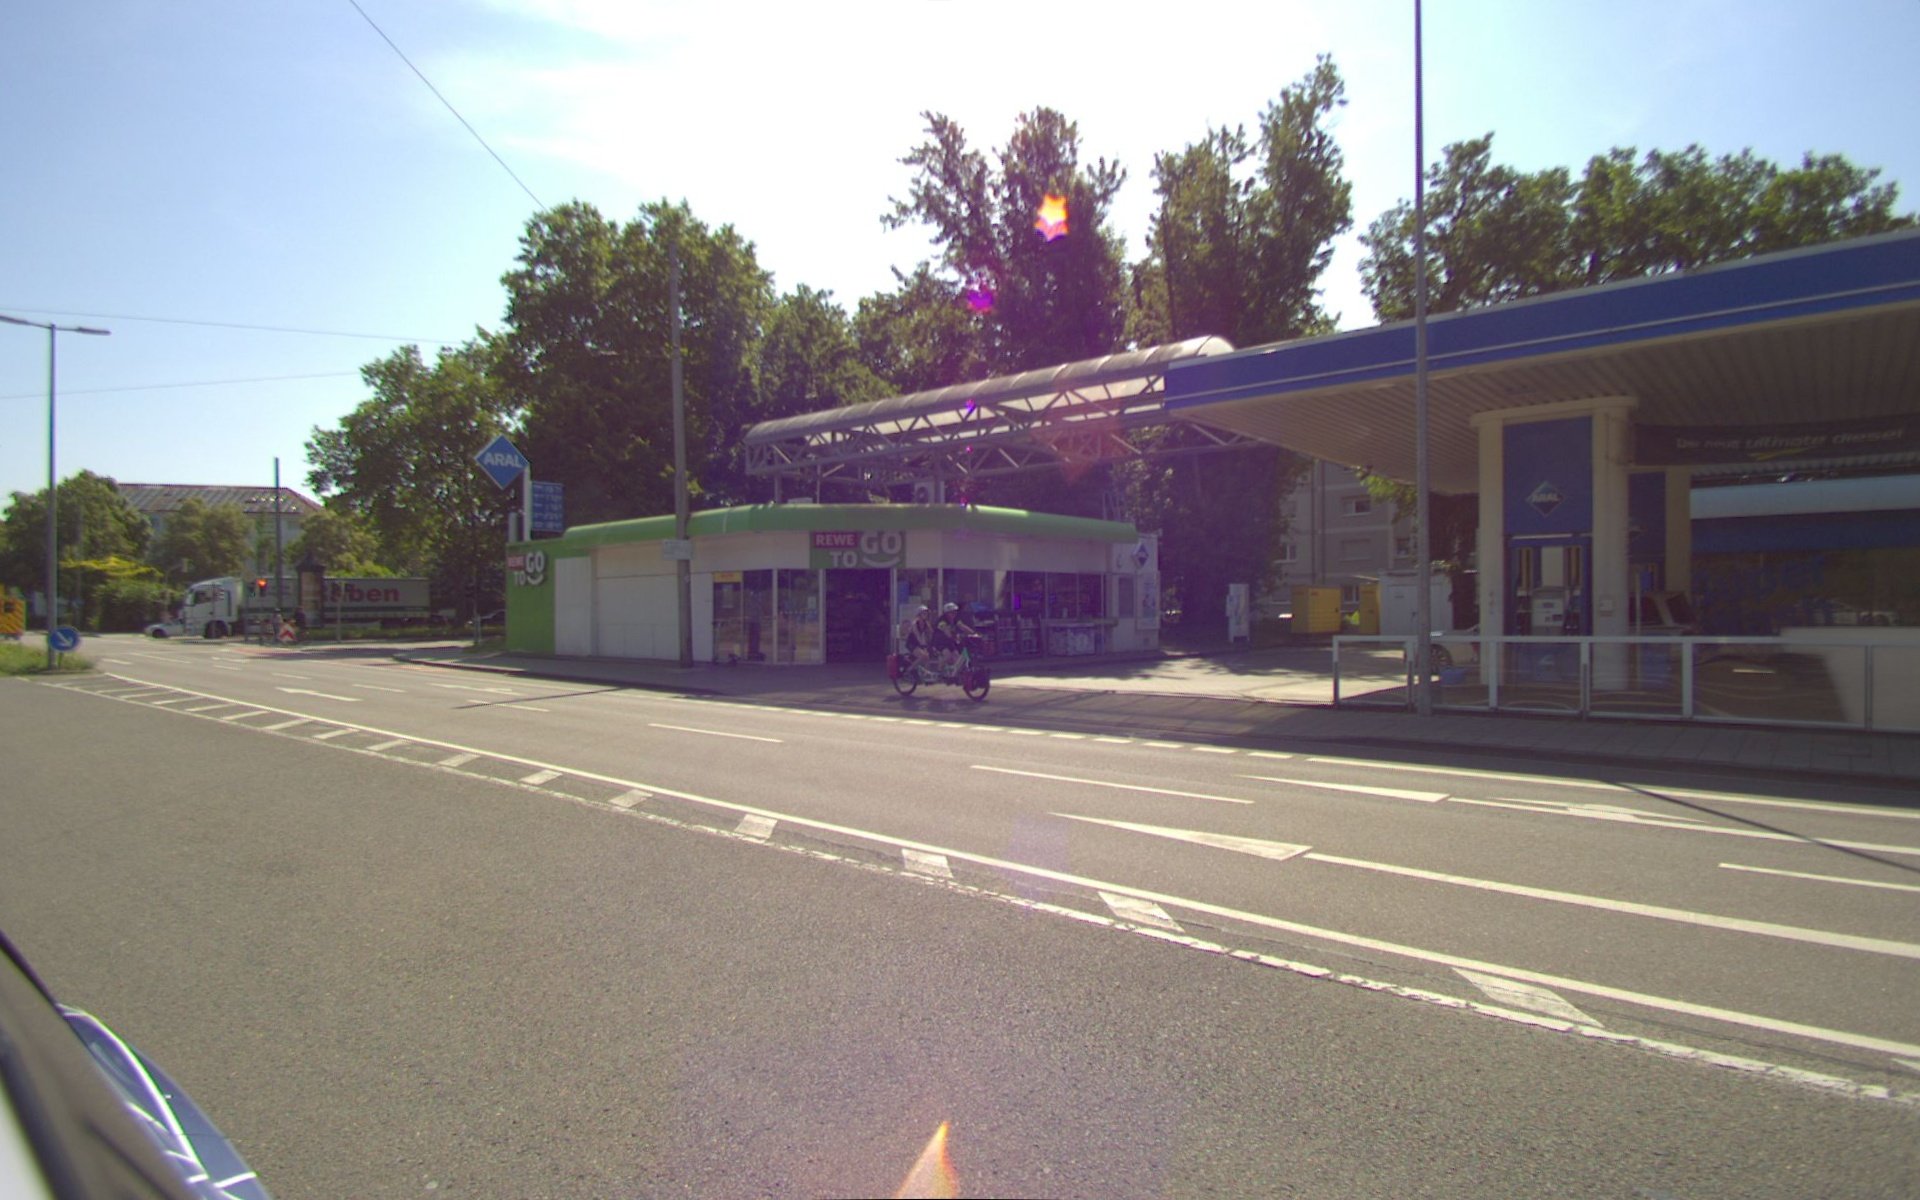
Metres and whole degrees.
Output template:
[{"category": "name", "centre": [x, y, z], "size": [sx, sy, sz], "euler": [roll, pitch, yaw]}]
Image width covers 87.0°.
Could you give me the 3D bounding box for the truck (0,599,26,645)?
[{"category": "truck", "centre": [-58.809, 1.331, 61.246], "size": [7.352, 2.688, 2.307], "euler": [-1, -2, 39]}]

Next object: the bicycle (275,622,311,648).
[{"category": "bicycle", "centre": [-31.718, 1.658, 48.124], "size": [2.211, 1.184, 0.927], "euler": [-1, -1, 43]}]

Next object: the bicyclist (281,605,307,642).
[{"category": "bicyclist", "centre": [-31.617, 1.111, 48.026], "size": [0.826, 1.687, 0.826], "euler": [-3, -2, 40]}]

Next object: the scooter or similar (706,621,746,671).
[{"category": "scooter or similar", "centre": [-6.019, 1.167, 26.001], "size": [0.436, 1.247, 1.348], "euler": [1, -1, -39]}]

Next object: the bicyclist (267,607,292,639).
[{"category": "bicyclist", "centre": [-30.942, 1.039, 46.029], "size": [0.737, 1.431, 0.702], "euler": [-3, -1, 32]}]

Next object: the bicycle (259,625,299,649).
[{"category": "bicycle", "centre": [-31.063, 1.684, 46.147], "size": [2.069, 1.066, 0.745], "euler": [-1, -1, 32]}]

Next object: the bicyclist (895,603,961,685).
[{"category": "bicyclist", "centre": [-0.590, 0.795, 18.557], "size": [0.832, 1.446, 0.838], "euler": [-3, -1, 40]}]

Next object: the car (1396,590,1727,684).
[{"category": "car", "centre": [12.839, 0.756, 21.945], "size": [5.960, 1.795, 1.825], "euler": [-1, -1, 40]}]

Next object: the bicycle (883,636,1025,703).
[{"category": "bicycle", "centre": [-0.150, 1.213, 18.204], "size": [2.772, 1.103, 0.816], "euler": [-2, -3, 43]}]

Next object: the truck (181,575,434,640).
[{"category": "truck", "centre": [-43.557, 0.545, 68.302], "size": [14.089, 4.038, 2.857], "euler": [1, -1, -44]}]

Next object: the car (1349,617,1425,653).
[{"category": "car", "centre": [17.846, 1.438, 42.247], "size": [1.745, 1.347, 3.636], "euler": [-3, -1, 43]}]

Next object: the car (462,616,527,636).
[{"category": "car", "centre": [-36.495, 2.017, 79.393], "size": [4.304, 1.379, 1.759], "euler": [-1, -2, -41]}]

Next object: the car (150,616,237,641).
[{"category": "car", "centre": [-51.110, 1.920, 67.570], "size": [4.322, 1.522, 1.761], "euler": [-1, -1, -18]}]

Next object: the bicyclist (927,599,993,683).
[{"category": "bicyclist", "centre": [-0.007, 0.721, 18.045], "size": [0.832, 1.446, 0.838], "euler": [-1, -1, 42]}]
